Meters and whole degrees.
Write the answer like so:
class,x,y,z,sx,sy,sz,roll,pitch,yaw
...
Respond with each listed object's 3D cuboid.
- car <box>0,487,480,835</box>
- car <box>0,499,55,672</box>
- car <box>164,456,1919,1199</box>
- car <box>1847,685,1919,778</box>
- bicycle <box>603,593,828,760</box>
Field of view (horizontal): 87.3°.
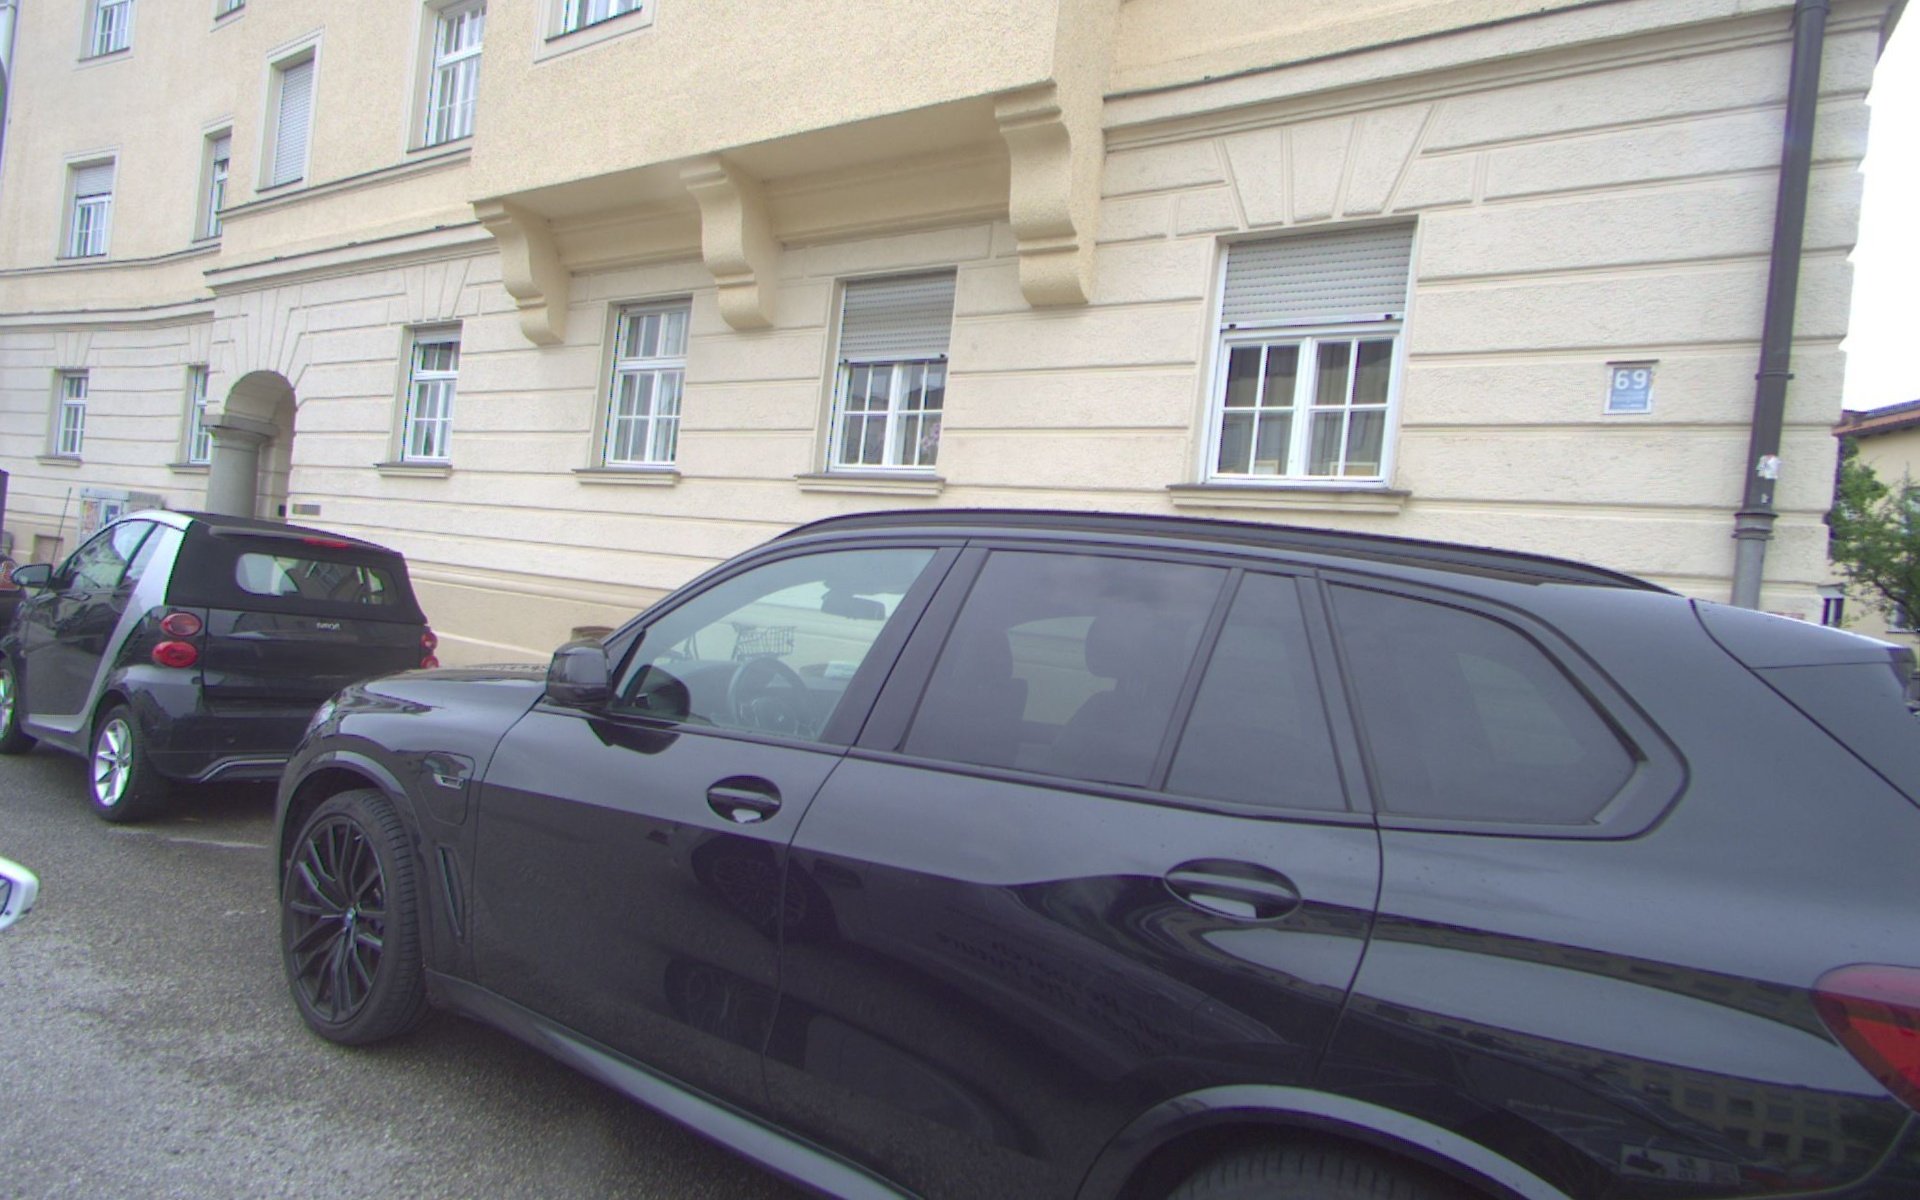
class,x,y,z,sx,sy,sz,roll,pitch,yaw
car,-4.590,0.256,6.108,3.060,1.541,1.537,6,-2,33
car,-10.076,-0.343,9.165,3.768,1.464,1.711,6,-2,33
car,-0.155,0.665,2.998,4.786,1.737,1.872,6,-2,32
car,19.372,2.644,18.716,4.168,1.568,1.932,6,1,-7
bicycle,-2.071,0.590,8.391,1.921,1.097,0.579,7,3,32
